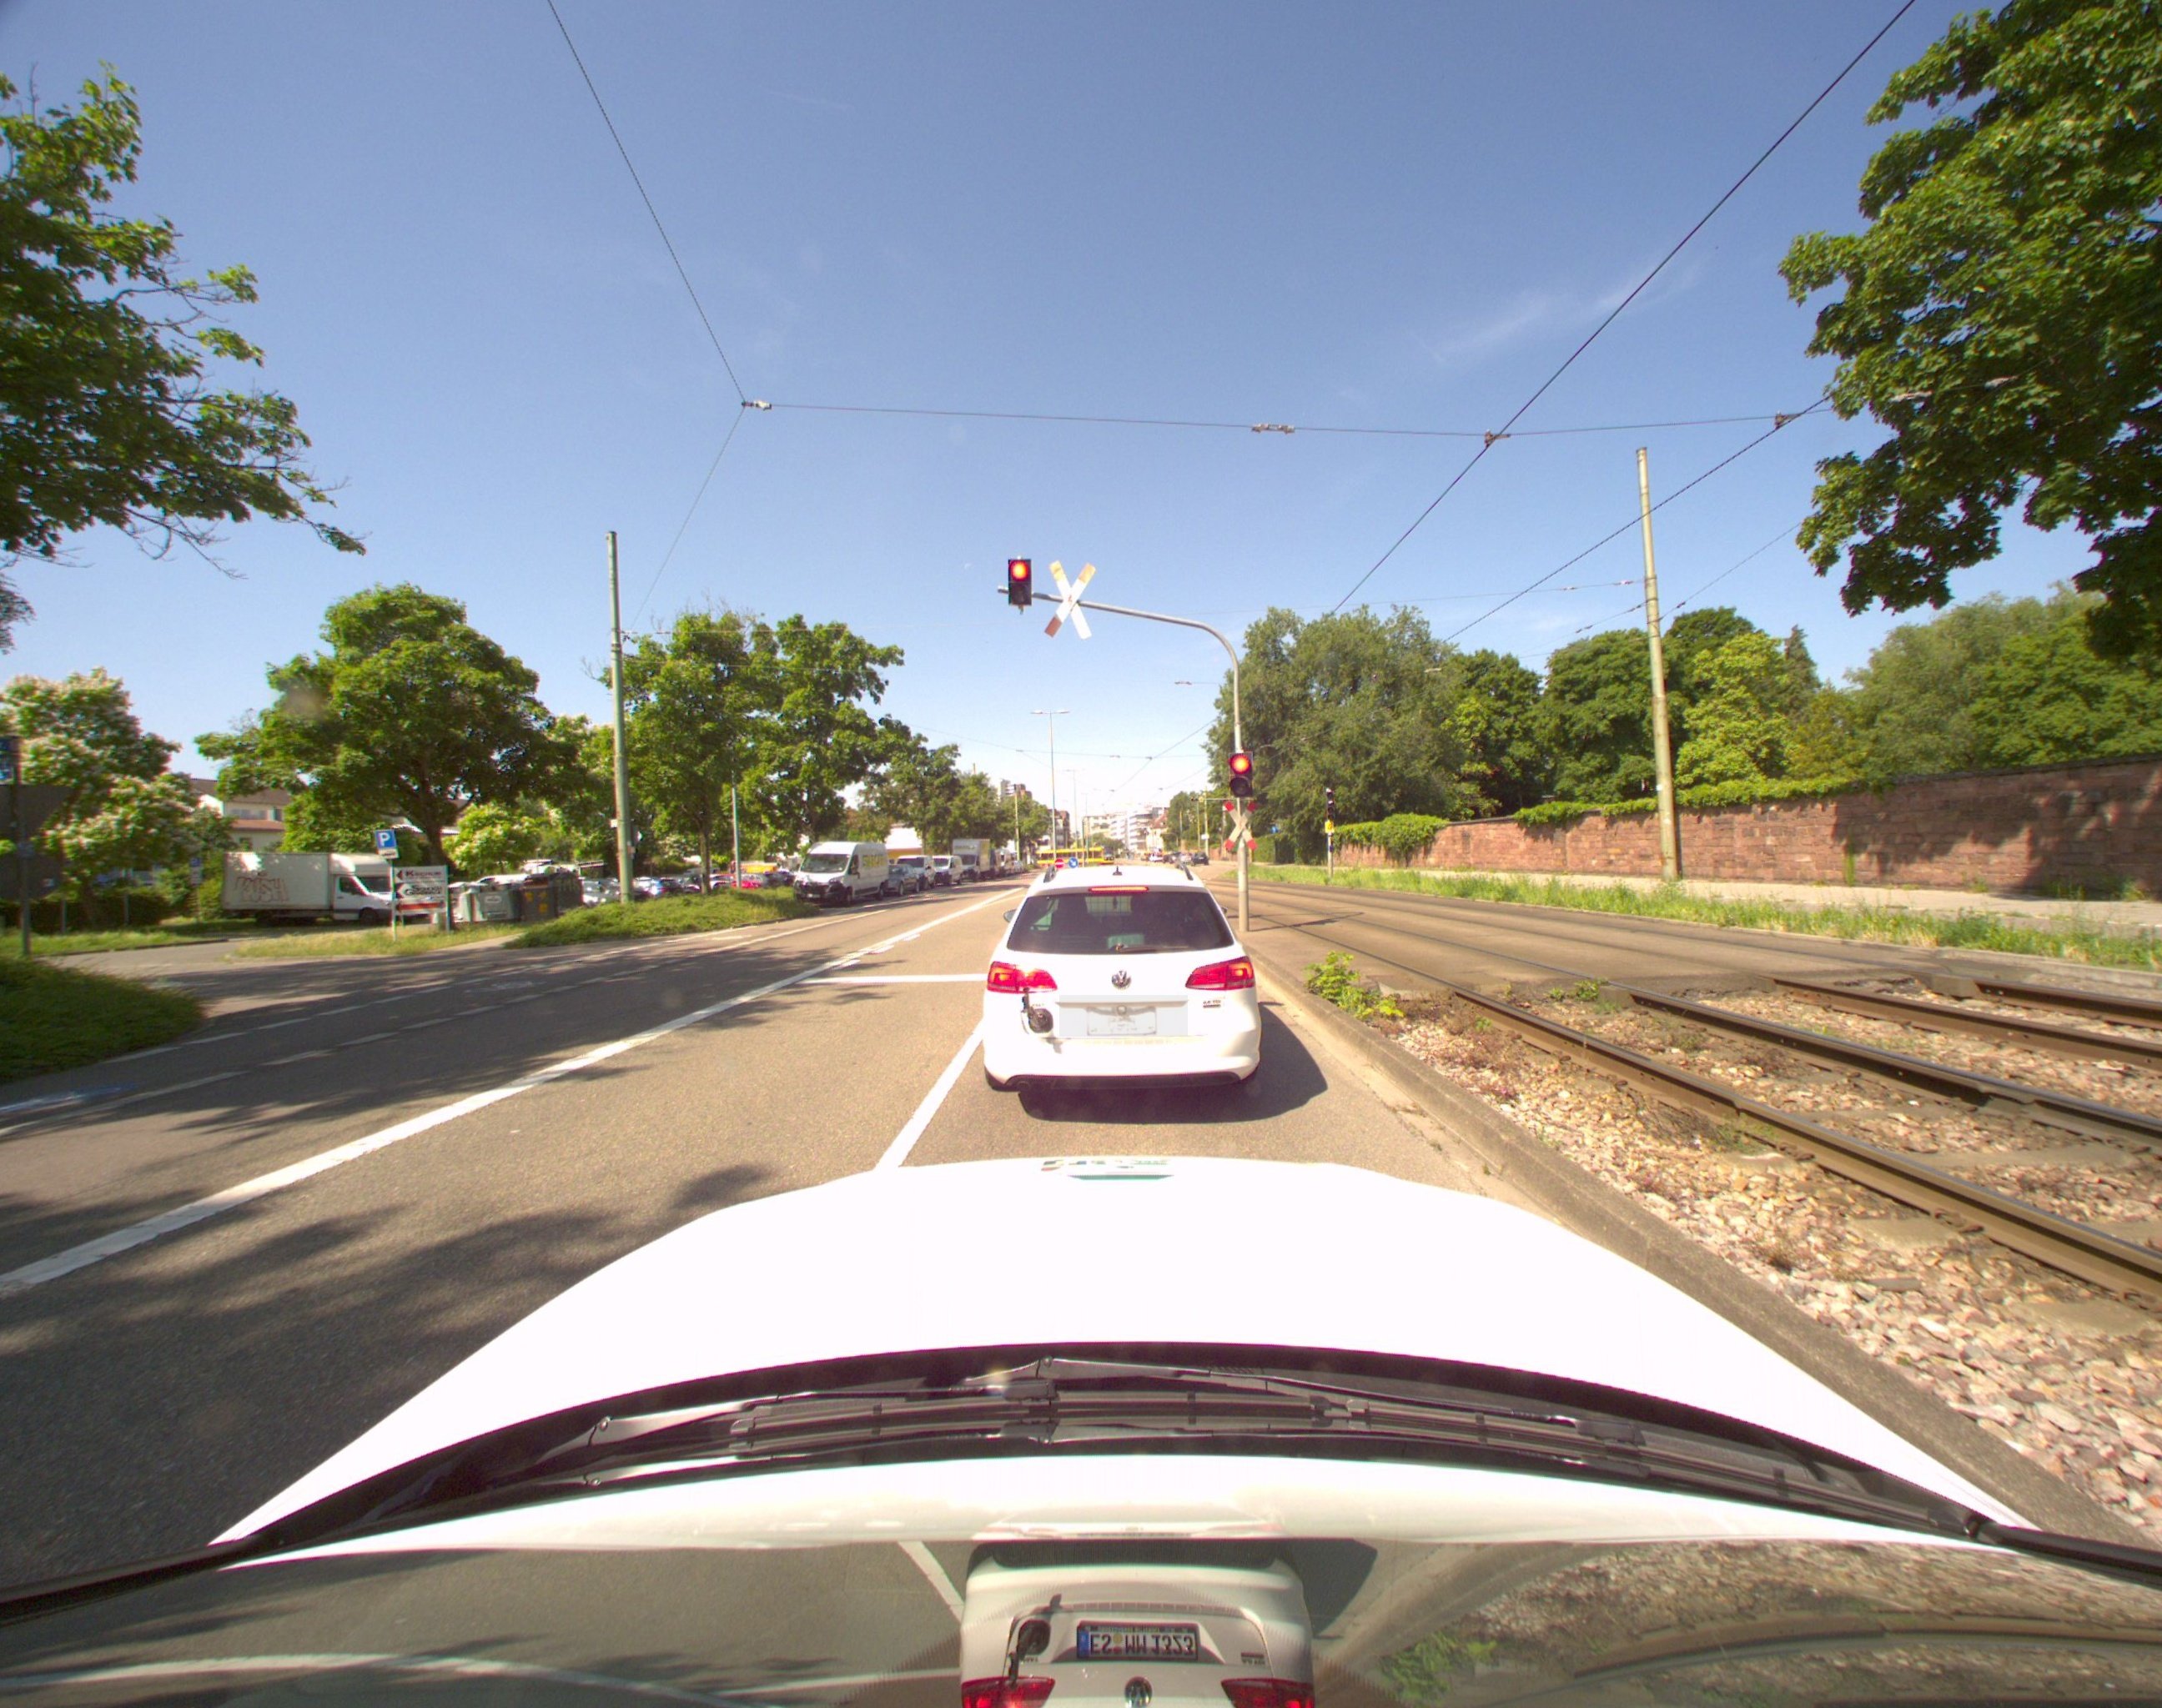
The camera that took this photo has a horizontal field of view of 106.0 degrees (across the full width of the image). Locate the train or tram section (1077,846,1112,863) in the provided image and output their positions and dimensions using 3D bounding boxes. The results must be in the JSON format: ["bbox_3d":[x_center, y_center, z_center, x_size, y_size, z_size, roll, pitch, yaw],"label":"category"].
[{"bbox_3d":[2.693,0.193,163.837,2.313,3.253,10.712,0,-1,-27],"label":"train or tram section"}]

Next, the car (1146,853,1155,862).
[{"bbox_3d":[14.912,0.708,175.165,1.685,1.812,3.455,0,-1,1],"label":"car"}]

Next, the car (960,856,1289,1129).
[{"bbox_3d":[0.266,0.748,6.339,1.762,1.446,3.913,0,0,1],"label":"car"}]

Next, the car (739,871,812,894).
[{"bbox_3d":[-19.655,1.838,52.441,3.969,1.225,1.773,-3,0,4],"label":"car"}]

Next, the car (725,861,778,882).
[{"bbox_3d":[-31.477,1.677,77.912,4.249,2.014,1.997,0,-1,-5],"label":"car"}]

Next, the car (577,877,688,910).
[{"bbox_3d":[-20.111,1.744,36.602,3.969,1.225,1.773,-3,0,4],"label":"car"}]

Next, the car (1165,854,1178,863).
[{"bbox_3d":[14.133,0.700,127.276,1.740,1.407,3.913,0,0,0],"label":"car"}]

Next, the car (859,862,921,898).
[{"bbox_3d":[-9.084,1.189,39.063,1.837,1.516,4.199,-3,0,2],"label":"car"}]

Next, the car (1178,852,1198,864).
[{"bbox_3d":[13.026,0.490,99.026,1.855,1.416,4.325,0,0,0],"label":"car"}]

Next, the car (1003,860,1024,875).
[{"bbox_3d":[-7.476,1.484,91.060,1.837,1.433,4.039,-3,0,2],"label":"car"}]

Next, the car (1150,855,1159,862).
[{"bbox_3d":[14.649,0.908,162.144,1.576,1.346,3.455,0,-1,1],"label":"car"}]

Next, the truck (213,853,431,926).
[{"bbox_3d":[-32.444,1.484,34.975,7.119,3.019,2.231,0,0,-1],"label":"truck"}]

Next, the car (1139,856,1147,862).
[{"bbox_3d":[16.025,1.219,210.009,1.986,1.596,4.002,0,-1,2],"label":"car"}]

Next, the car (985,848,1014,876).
[{"bbox_3d":[-7.576,0.721,76.308,1.836,2.494,5.860,-3,0,2],"label":"car"}]

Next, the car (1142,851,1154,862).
[{"bbox_3d":[16.002,0.551,195.574,2.454,2.499,5.912,0,-1,1],"label":"car"}]

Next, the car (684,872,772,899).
[{"bbox_3d":[-19.427,1.722,44.916,3.969,1.264,1.773,-3,0,4],"label":"car"}]

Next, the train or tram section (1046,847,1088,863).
[{"bbox_3d":[-3.100,0.320,172.213,2.321,3.253,10.885,1,-1,-43],"label":"train or tram section"}]

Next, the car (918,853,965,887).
[{"bbox_3d":[-8.869,0.970,52.199,1.836,1.960,5.137,-3,0,2],"label":"car"}]

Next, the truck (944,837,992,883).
[{"bbox_3d":[-8.316,0.393,60.691,2.348,3.122,6.892,-3,0,1],"label":"truck"}]

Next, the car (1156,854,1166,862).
[{"bbox_3d":[14.389,0.722,146.657,1.576,1.346,3.455,0,-1,1],"label":"car"}]

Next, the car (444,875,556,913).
[{"bbox_3d":[-32.188,2.173,45.231,4.683,2.014,1.997,0,-1,-4],"label":"car"}]

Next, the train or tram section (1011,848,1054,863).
[{"bbox_3d":[-10.732,0.441,179.359,10.668,3.253,2.323,-1,-1,38],"label":"train or tram section"}]

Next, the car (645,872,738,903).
[{"bbox_3d":[-20.304,1.722,42.518,3.969,1.350,1.773,-3,0,4],"label":"car"}]

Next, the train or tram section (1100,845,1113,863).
[{"bbox_3d":[4.859,0.068,154.208,2.293,3.253,11.275,0,-1,1],"label":"train or tram section"}]

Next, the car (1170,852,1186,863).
[{"bbox_3d":[13.509,0.450,113.464,1.855,1.513,3.913,0,0,0],"label":"car"}]

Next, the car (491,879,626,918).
[{"bbox_3d":[-20.012,1.692,31.297,3.974,1.225,1.771,-3,0,0],"label":"car"}]

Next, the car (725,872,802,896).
[{"bbox_3d":[-19.528,1.814,50.113,3.969,1.225,1.773,-3,0,4],"label":"car"}]

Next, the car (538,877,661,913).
[{"bbox_3d":[-19.916,1.693,33.778,3.974,1.225,1.771,-3,0,0],"label":"car"}]

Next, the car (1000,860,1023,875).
[{"bbox_3d":[-7.282,1.396,85.797,1.837,1.433,4.039,-3,0,2],"label":"car"}]

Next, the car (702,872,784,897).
[{"bbox_3d":[-19.663,1.776,47.518,3.969,1.225,1.773,-3,0,4],"label":"car"}]

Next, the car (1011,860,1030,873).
[{"bbox_3d":[-7.152,1.463,96.944,1.774,1.433,4.039,-3,0,2],"label":"car"}]

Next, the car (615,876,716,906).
[{"bbox_3d":[-20.294,1.795,39.835,3.969,1.225,1.773,-3,0,4],"label":"car"}]

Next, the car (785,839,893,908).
[{"bbox_3d":[-9.567,0.686,32.924,2.049,2.501,6.315,0,0,4],"label":"car"}]

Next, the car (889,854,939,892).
[{"bbox_3d":[-9.283,1.011,45.748,1.839,1.937,5.189,-3,0,-2],"label":"car"}]

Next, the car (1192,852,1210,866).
[{"bbox_3d":[12.629,0.545,85.661,1.737,1.388,3.919,-1,0,6],"label":"car"}]

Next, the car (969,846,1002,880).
[{"bbox_3d":[-7.971,0.741,68.549,1.836,2.668,5.006,-3,0,2],"label":"car"}]

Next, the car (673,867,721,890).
[{"bbox_3d":[-34.373,2.168,72.904,3.412,1.876,1.552,-3,0,-1],"label":"car"}]
